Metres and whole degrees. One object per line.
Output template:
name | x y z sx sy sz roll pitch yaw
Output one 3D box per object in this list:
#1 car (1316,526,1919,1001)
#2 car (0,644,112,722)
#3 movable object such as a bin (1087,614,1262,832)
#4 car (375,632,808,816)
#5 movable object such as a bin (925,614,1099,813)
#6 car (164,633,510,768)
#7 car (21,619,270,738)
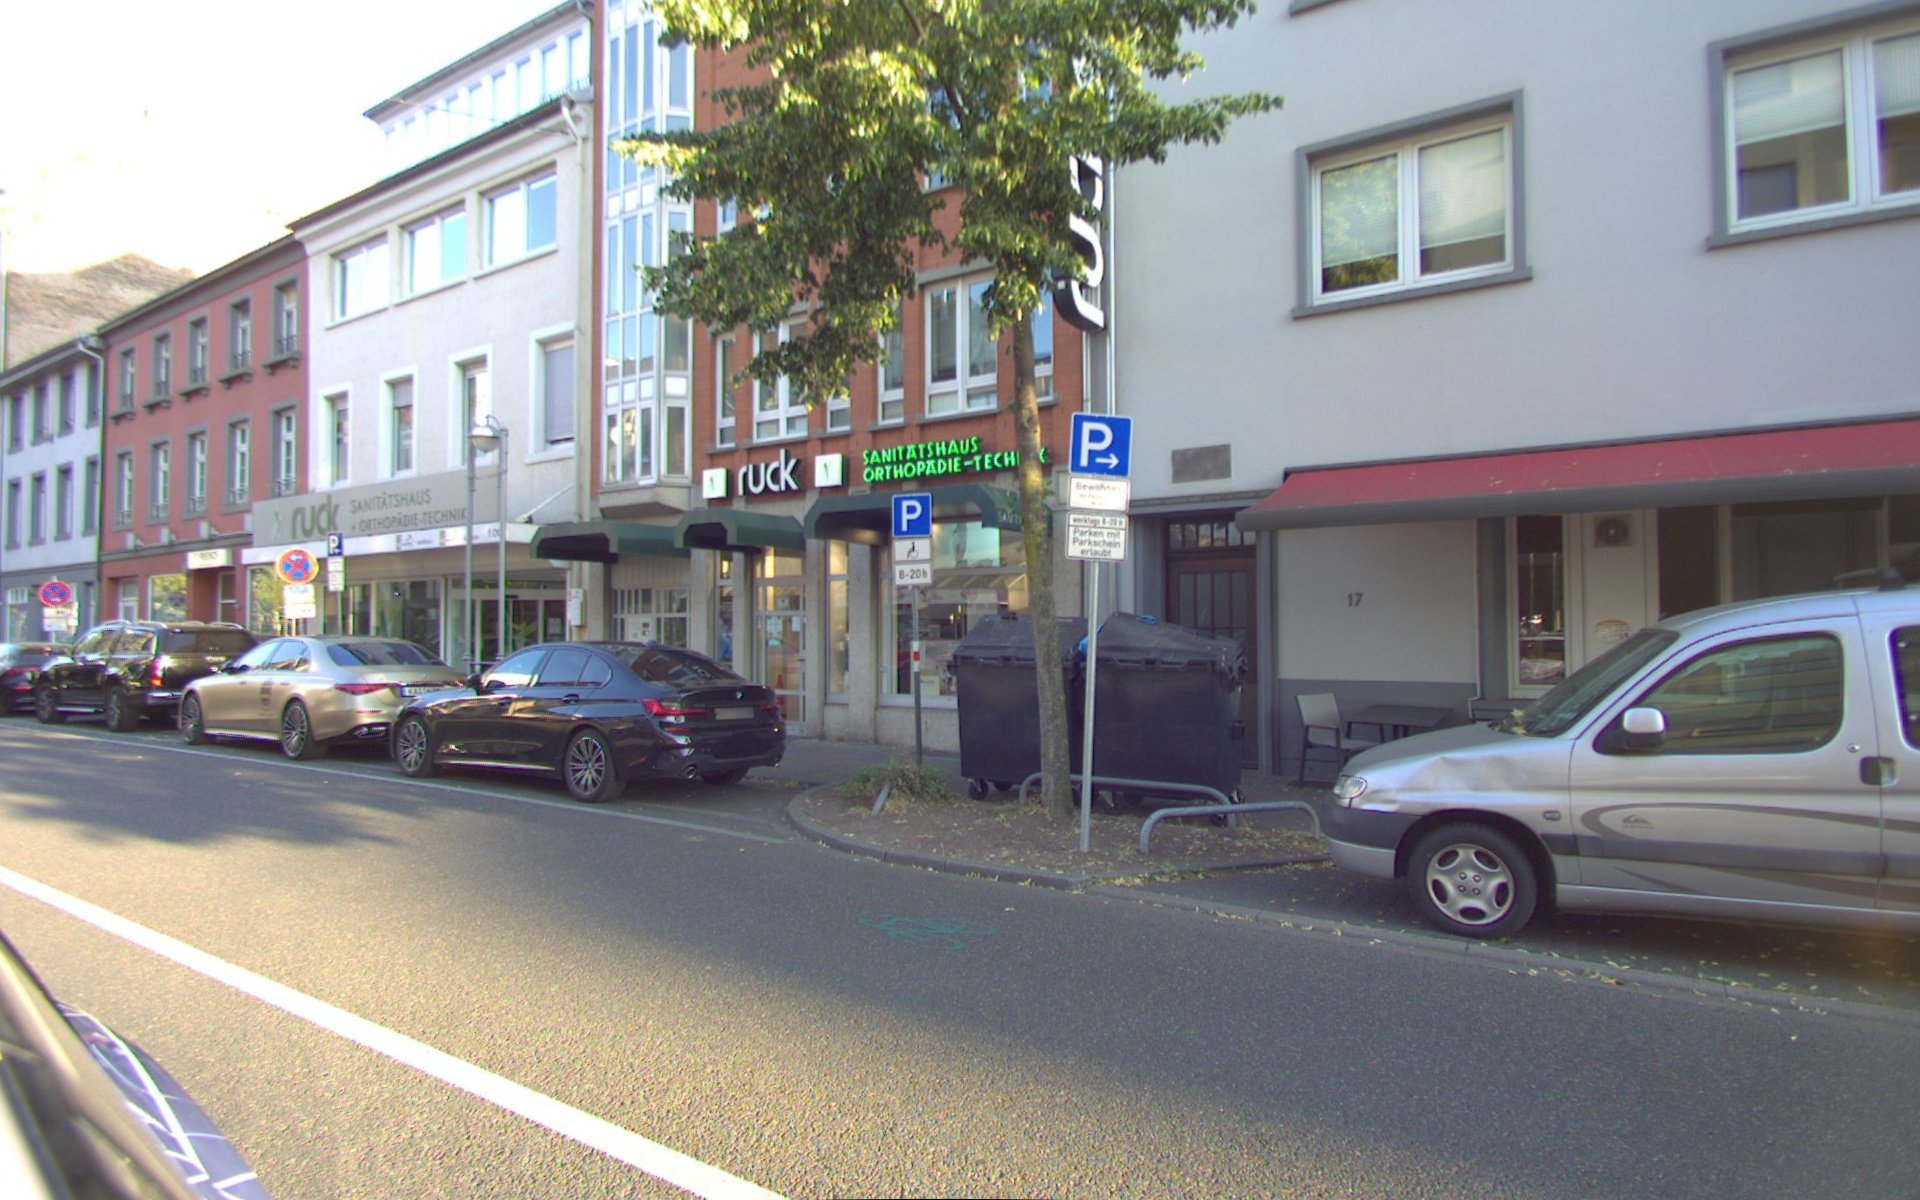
car | 4.004 0.701 4.953 4.038 1.902 1.657 -1 -4 31
car | -19.245 1.662 20.721 4.001 1.448 1.688 -2 -5 32
movable object such as a bin | 1.764 0.947 8.295 1.203 1.632 0.775 -1 0 30
car | -3.815 1.115 10.189 4.528 1.484 1.706 -2 -5 33
movable object such as a bin | 0.463 0.957 9.046 1.331 1.632 0.775 -1 -1 30
car | -8.359 1.232 13.415 5.094 1.484 1.977 -2 -4 34
car | -14.010 1.293 17.330 4.921 1.793 1.708 -2 -4 31
